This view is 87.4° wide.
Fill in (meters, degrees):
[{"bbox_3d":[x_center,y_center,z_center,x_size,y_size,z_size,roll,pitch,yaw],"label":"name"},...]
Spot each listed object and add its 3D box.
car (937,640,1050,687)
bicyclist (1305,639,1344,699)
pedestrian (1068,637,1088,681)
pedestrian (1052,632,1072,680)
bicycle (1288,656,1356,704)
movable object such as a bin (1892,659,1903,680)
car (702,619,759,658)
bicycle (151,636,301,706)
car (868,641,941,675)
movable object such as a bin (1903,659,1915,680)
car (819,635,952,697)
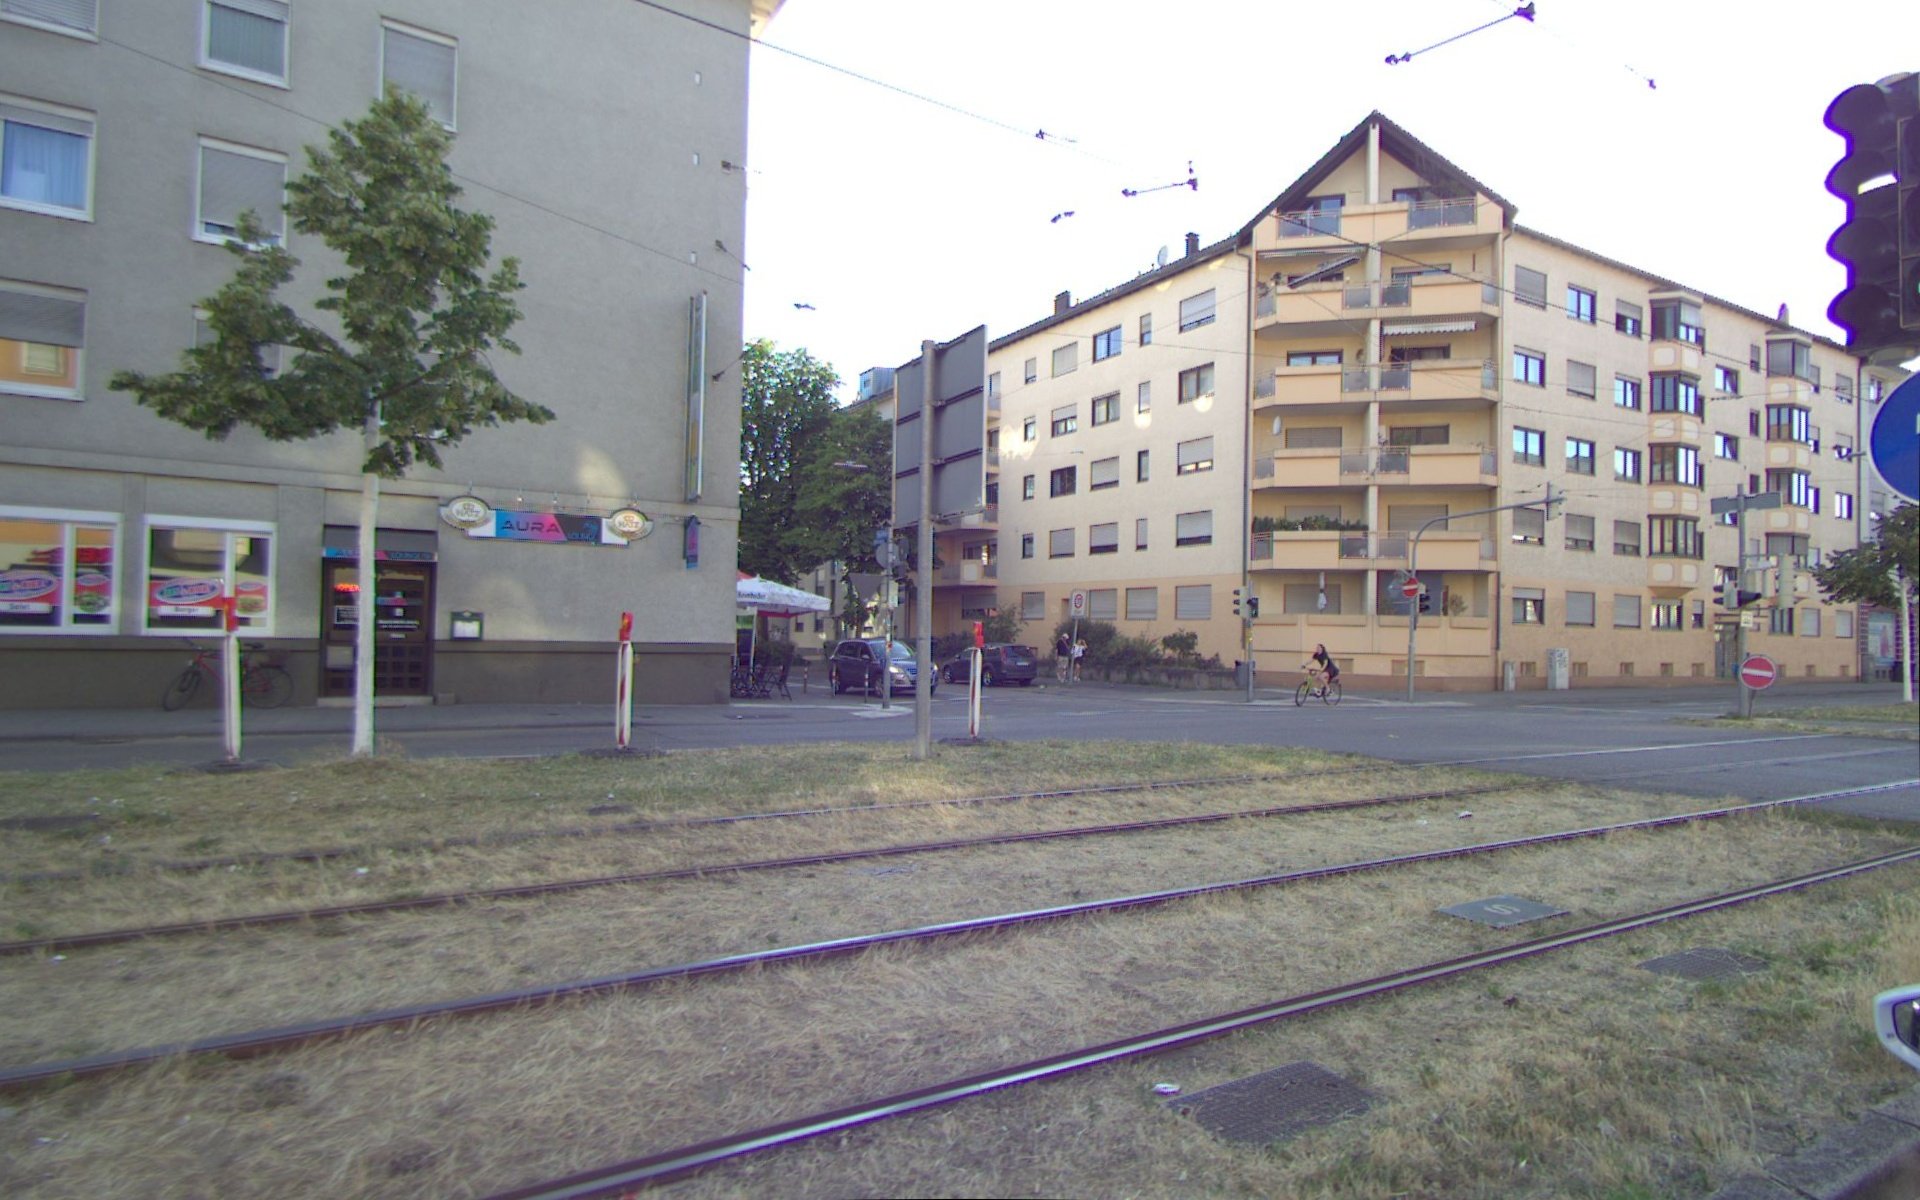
[{"bbox_3d":[1.155,2.233,35.952,1.982,1.462,3.956,0,-1,-38],"label":"car"},{"bbox_3d":[9.993,1.873,27.553,0.797,1.607,0.625,1,-1,-20],"label":"bicyclist"},{"bbox_3d":[4.345,2.179,37.059,0.509,1.573,0.547,1,0,-25],"label":"pedestrian"},{"bbox_3d":[3.758,2.062,37.018,0.456,1.727,0.589,3,-1,-25],"label":"pedestrian"},{"bbox_3d":[9.912,2.191,27.494,1.840,1.274,0.455,1,-1,-17],"label":"bicycle"},{"bbox_3d":[47.004,3.478,50.348,0.436,1.050,0.297,3,-1,-31],"label":"movable object such as a bin"},{"bbox_3d":[-12.935,2.131,56.471,1.978,2.040,3.967,3,-2,-31],"label":"car"},{"bbox_3d":[-11.603,1.123,15.960,1.824,1.037,0.605,3,-1,-31],"label":"bicycle"},{"bbox_3d":[-2.399,2.440,42.680,1.753,1.280,3.281,3,-2,-31],"label":"car"},{"bbox_3d":[47.897,3.513,50.702,0.436,1.050,0.297,3,-1,-31],"label":"movable object such as a bin"},{"bbox_3d":[-2.275,1.888,29.713,1.982,1.645,4.152,2,-2,-38],"label":"car"}]
